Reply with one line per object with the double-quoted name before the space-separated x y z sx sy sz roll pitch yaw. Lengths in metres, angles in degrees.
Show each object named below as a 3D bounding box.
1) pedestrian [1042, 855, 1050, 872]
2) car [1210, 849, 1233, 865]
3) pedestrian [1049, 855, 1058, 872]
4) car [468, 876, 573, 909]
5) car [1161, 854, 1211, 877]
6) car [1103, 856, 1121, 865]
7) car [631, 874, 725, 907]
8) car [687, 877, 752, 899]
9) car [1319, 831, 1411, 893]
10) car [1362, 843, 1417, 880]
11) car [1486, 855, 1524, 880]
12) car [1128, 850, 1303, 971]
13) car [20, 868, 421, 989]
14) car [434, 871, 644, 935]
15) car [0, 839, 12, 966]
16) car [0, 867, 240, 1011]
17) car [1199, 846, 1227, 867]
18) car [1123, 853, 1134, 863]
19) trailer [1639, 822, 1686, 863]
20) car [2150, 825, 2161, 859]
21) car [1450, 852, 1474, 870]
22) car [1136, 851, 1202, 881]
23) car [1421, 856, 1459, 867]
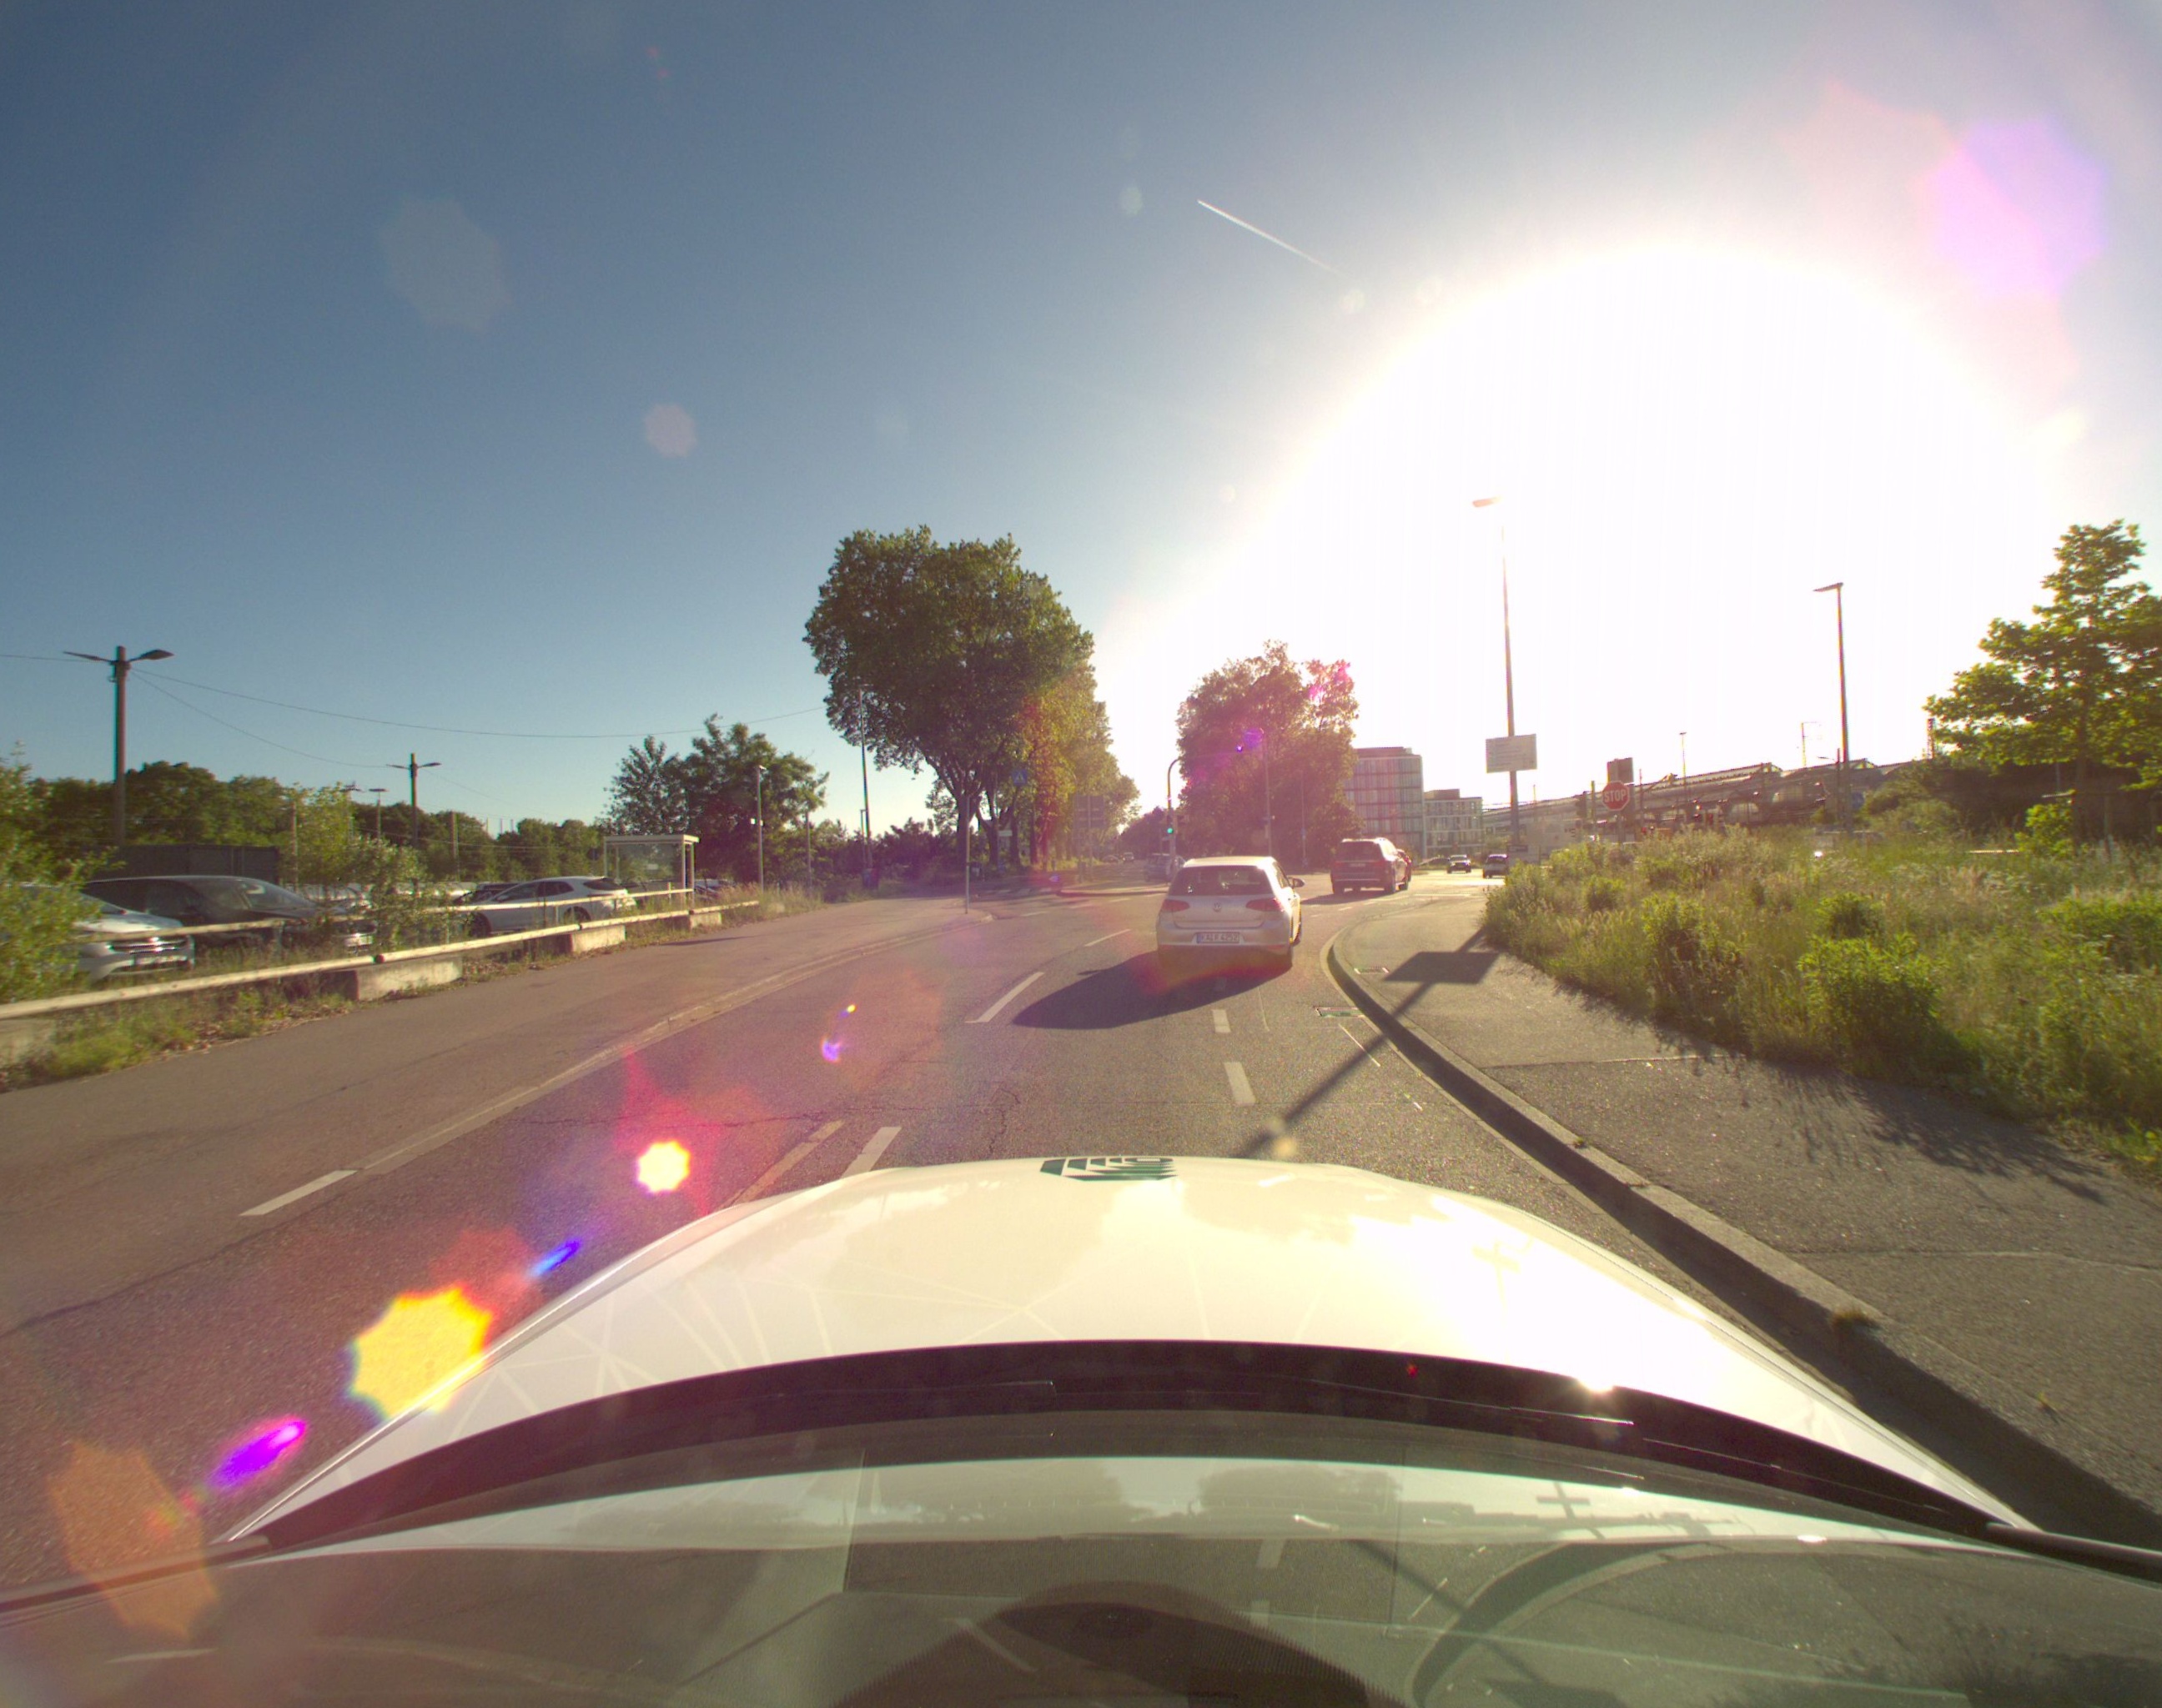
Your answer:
"pedestrian" -3.409 0.942 78.768 0.660 1.586 0.632 -2 -1 6
"car" 15.252 0.317 88.403 1.846 1.650 4.268 -1 -1 2
"pedestrian" -2.613 0.914 78.321 0.724 1.592 0.806 -2 -1 6
"car" -34.169 2.330 49.718 4.982 1.838 2.204 -2 -1 7
"car" 6.936 0.748 54.100 1.906 1.427 3.915 -1 -1 -16
"car" 6.048 1.220 159.635 1.862 1.599 4.290 -1 -1 -24
"car" -20.473 1.829 41.516 3.996 1.459 1.720 -1 -1 -17
"car" -32.739 3.068 73.824 4.925 1.764 2.001 -2 -1 2
"car" 9.768 0.264 27.770 2.092 1.887 4.842 -2 -1 29
"car" 15.559 0.382 41.247 1.929 1.713 4.214 -2 -1 12
"car" 27.097 0.827 52.040 1.731 1.476 4.025 -2 -1 33
"car" 2.125 0.698 11.849 1.955 1.427 3.954 -2 -1 17
"car" -13.319 1.090 12.857 4.124 1.654 1.870 -1 0 -5
"car" -14.277 1.264 21.642 4.246 1.511 1.891 -1 -1 -1
"car" -24.234 1.039 15.081 5.479 2.517 2.400 -2 -1 -2
"car" -13.596 1.037 10.153 4.037 1.610 1.884 -2 -1 -5
"car" 11.576 0.239 71.534 1.846 1.743 4.268 -1 -1 2
"car" 8.107 0.671 139.452 1.846 1.743 4.269 -1 -1 3
"trailer" 49.724 -0.901 69.808 2.966 3.292 6.710 -1 -1 33
"car" 50.675 -0.604 35.854 4.352 1.518 1.959 -1 -1 4
"car" 33.013 0.604 70.574 1.732 1.476 4.024 -2 -1 26
"car" 5.124 0.692 47.745 1.925 1.636 4.084 -1 -1 -27
"car" 62.564 1.256 141.971 5.688 1.845 1.916 -1 0 -2
